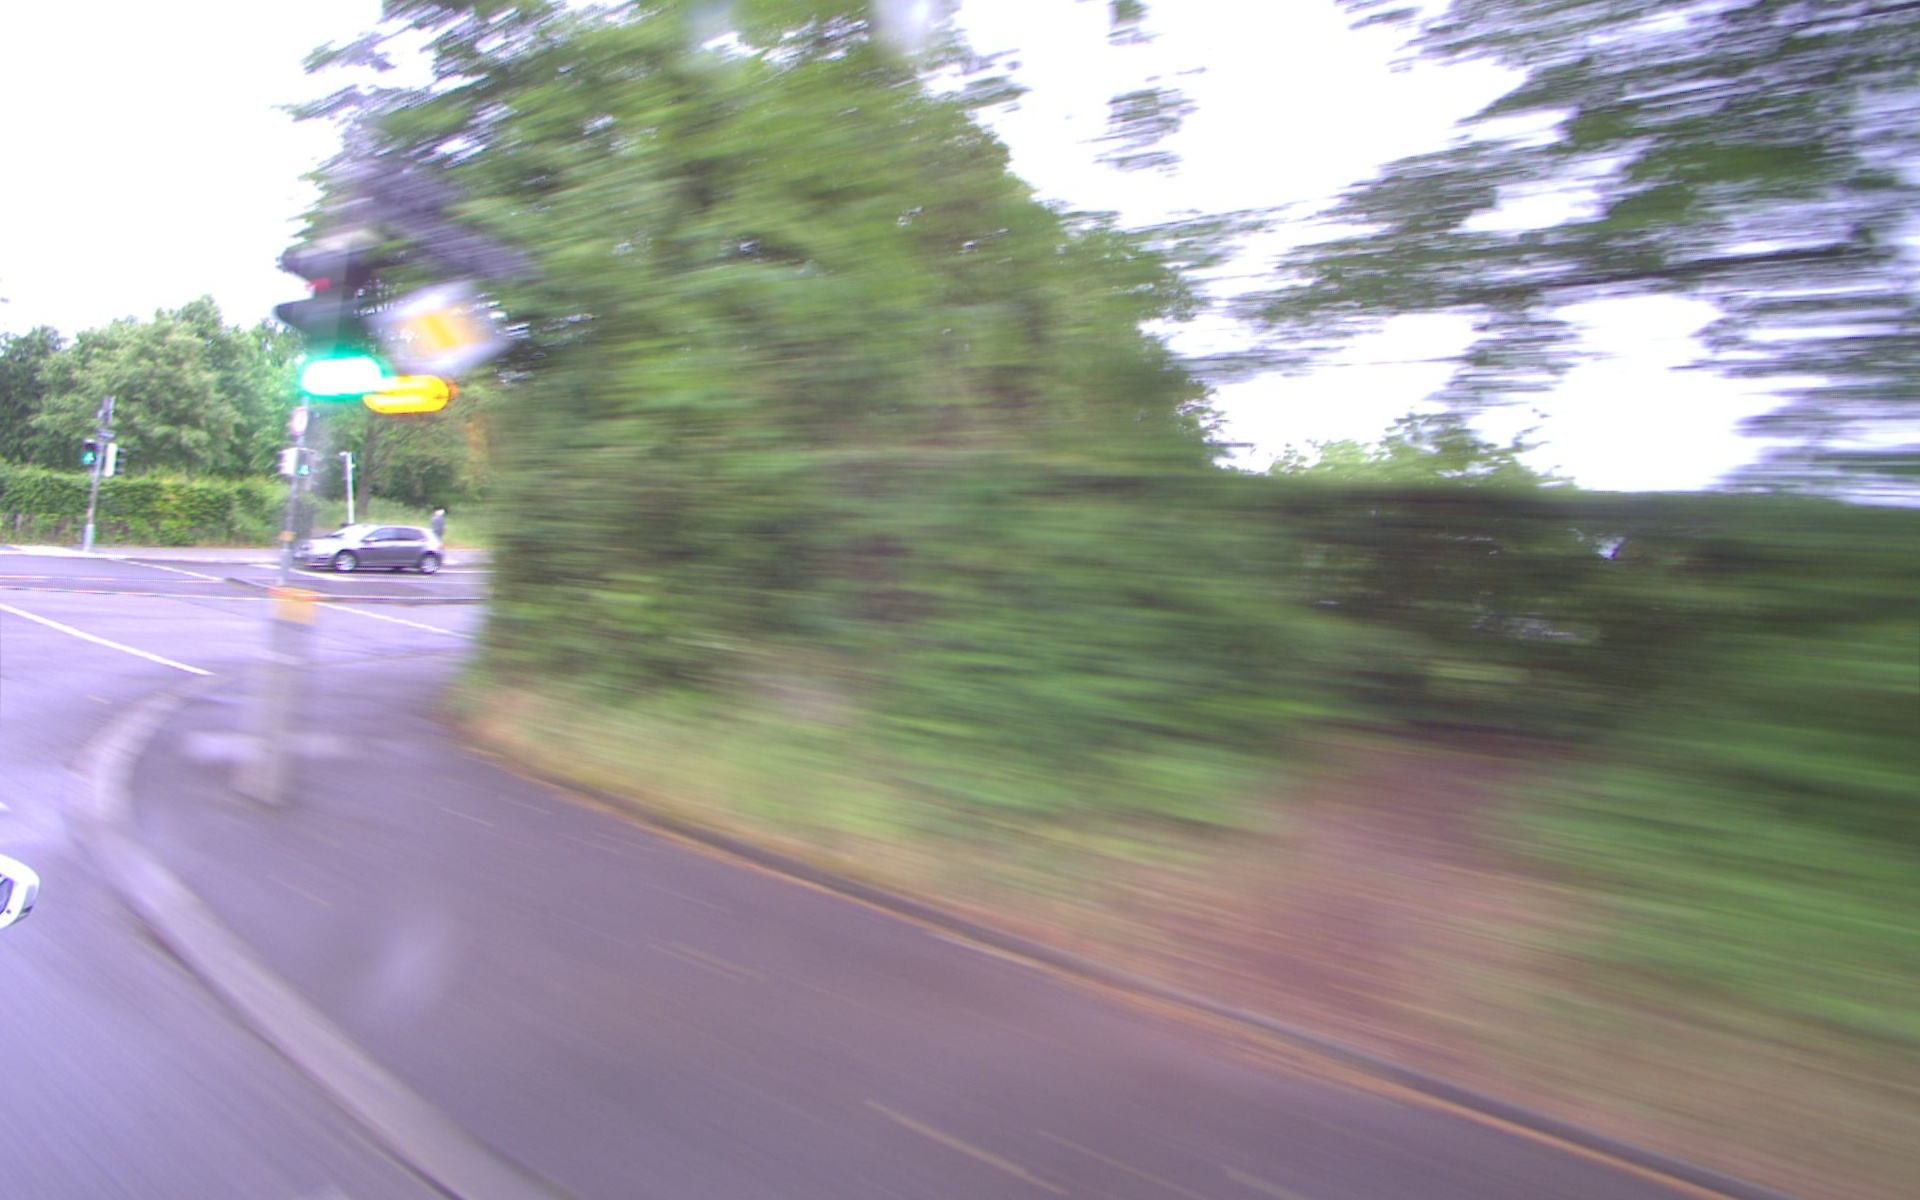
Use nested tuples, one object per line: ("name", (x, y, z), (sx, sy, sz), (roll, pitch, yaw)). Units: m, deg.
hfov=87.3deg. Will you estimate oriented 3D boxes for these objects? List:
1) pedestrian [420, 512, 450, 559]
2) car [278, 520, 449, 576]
("pedestrian", (-19.174, -2.346, 36.754), (0.678, 1.603, 0.474), (7, 1, 2))
("car", (-17.804, -1.538, 30.211), (1.857, 1.475, 4.075), (6, 4, 25))
